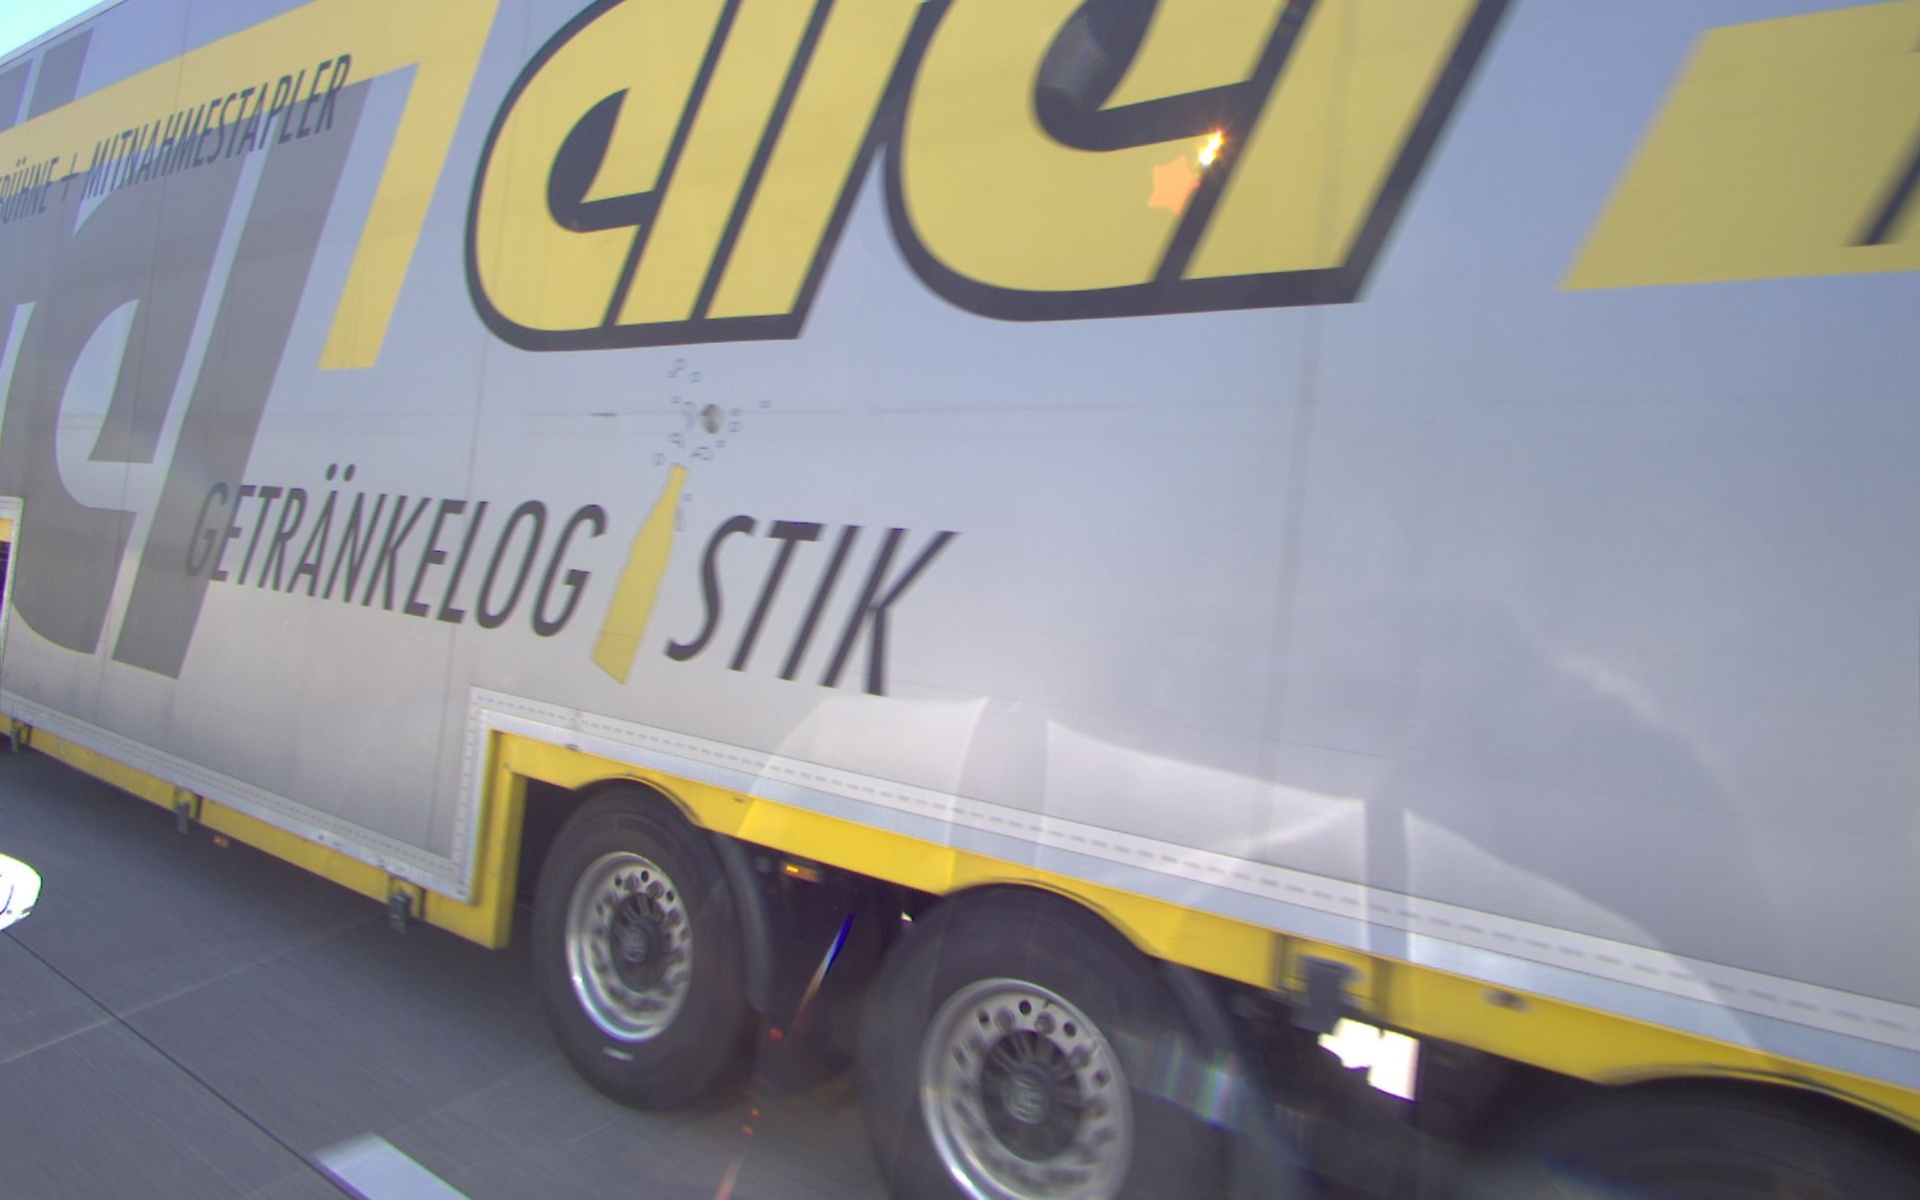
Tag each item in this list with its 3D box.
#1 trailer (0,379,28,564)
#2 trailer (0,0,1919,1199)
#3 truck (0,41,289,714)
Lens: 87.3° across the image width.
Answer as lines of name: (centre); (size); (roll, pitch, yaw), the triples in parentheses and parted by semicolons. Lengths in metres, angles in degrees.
trailer: (-28.712, -3.712, 26.437); (14.500, 4.242, 1.997); (6, -1, 31)
trailer: (-1.892, -0.842, 4.506); (14.945, 4.304, 1.997); (6, -1, 31)
truck: (-8.191, -1.590, 8.299); (5.107, 4.304, 1.997); (6, -1, 31)
